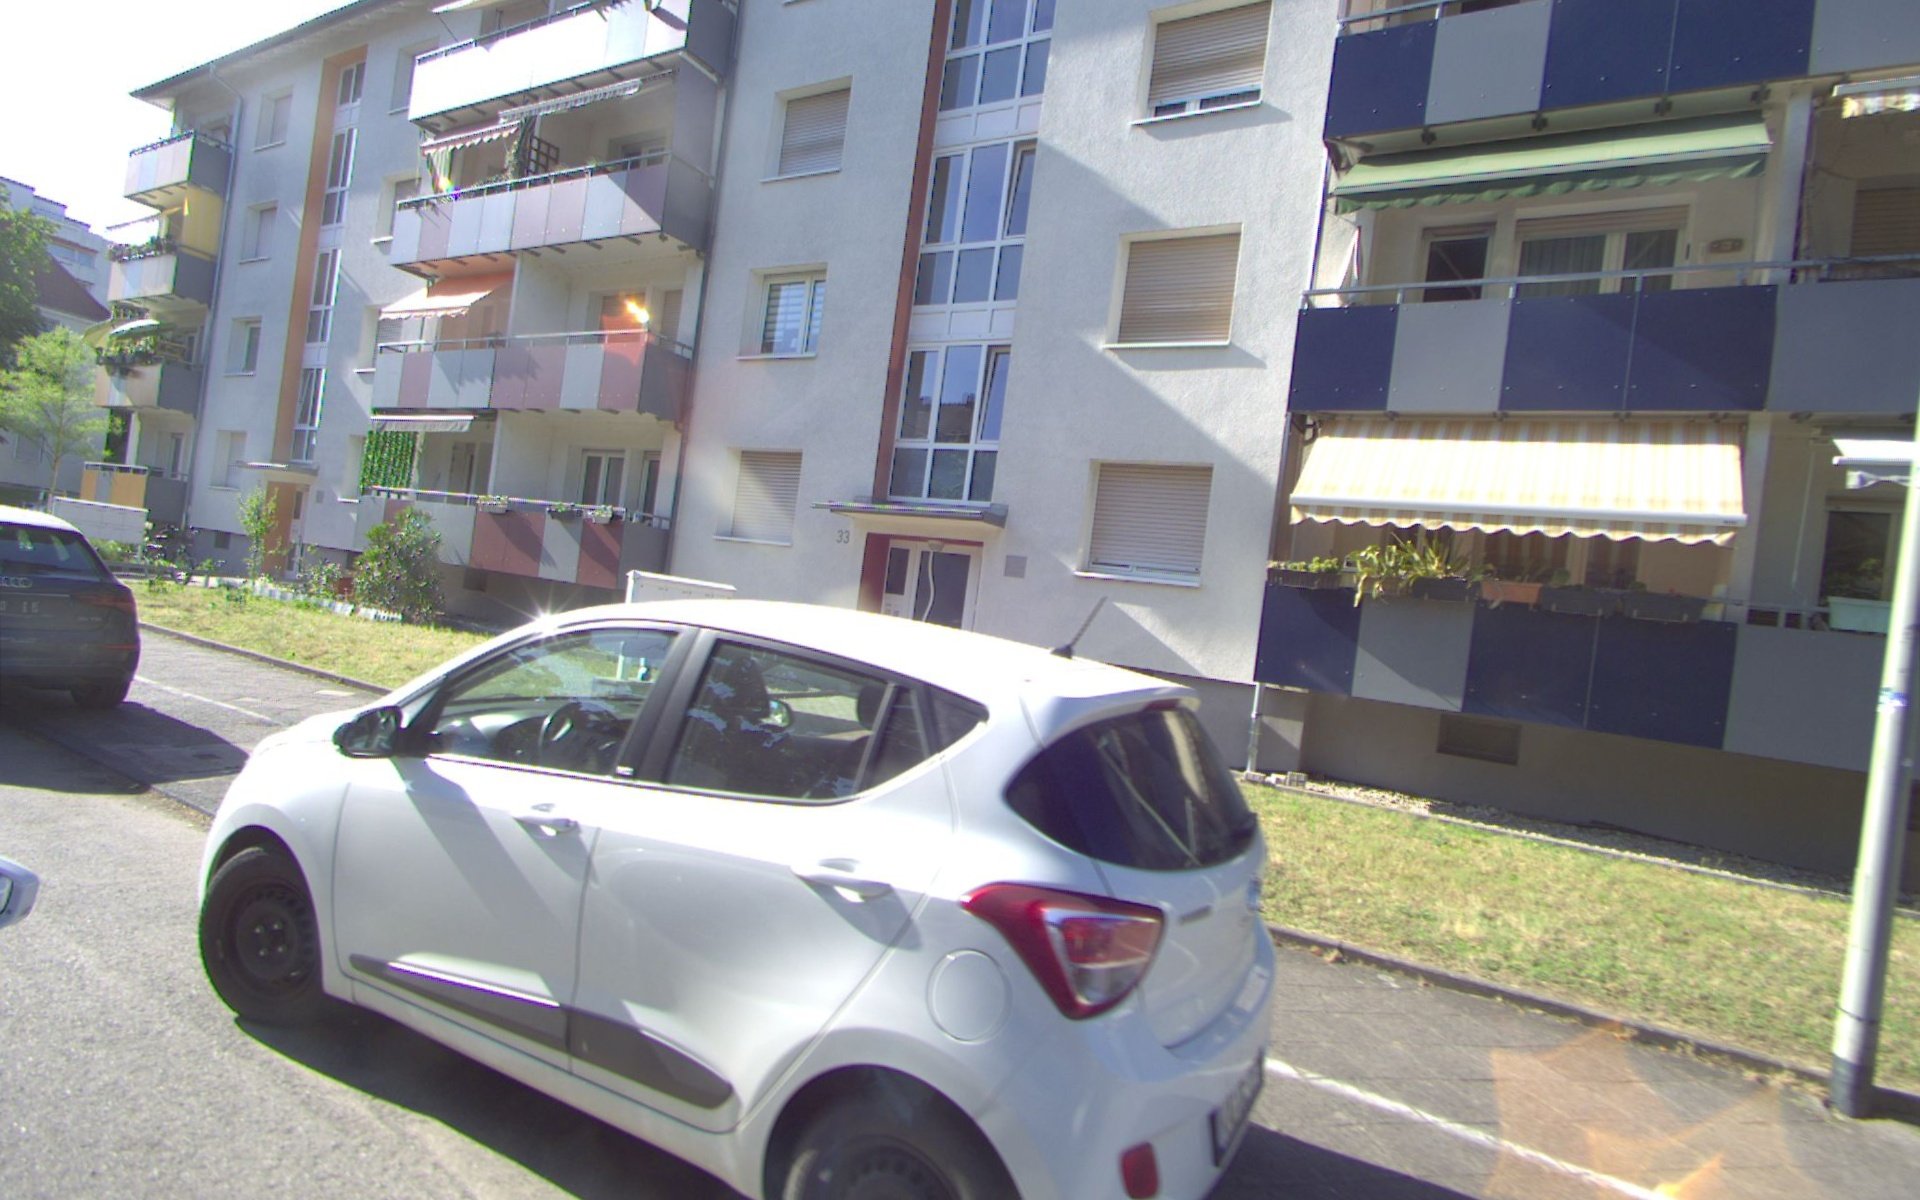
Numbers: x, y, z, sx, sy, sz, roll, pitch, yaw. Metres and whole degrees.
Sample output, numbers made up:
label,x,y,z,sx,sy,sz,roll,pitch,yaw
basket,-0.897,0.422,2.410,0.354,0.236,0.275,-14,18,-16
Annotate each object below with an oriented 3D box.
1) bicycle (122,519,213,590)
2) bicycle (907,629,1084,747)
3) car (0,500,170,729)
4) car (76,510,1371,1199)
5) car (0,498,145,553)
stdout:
label,x,y,z,sx,sy,sz,roll,pitch,yaw
bicycle,-15.241,-0.888,19.325,1.980,1.190,0.597,5,-2,31
bicycle,0.395,1.001,11.849,1.976,1.085,0.523,7,2,31
car,-8.061,-0.107,7.611,4.396,1.453,1.701,7,0,30
car,-0.858,0.711,3.291,3.794,1.517,1.752,7,-1,28
car,-34.366,-2.837,38.973,1.630,1.446,3.897,7,-1,28
